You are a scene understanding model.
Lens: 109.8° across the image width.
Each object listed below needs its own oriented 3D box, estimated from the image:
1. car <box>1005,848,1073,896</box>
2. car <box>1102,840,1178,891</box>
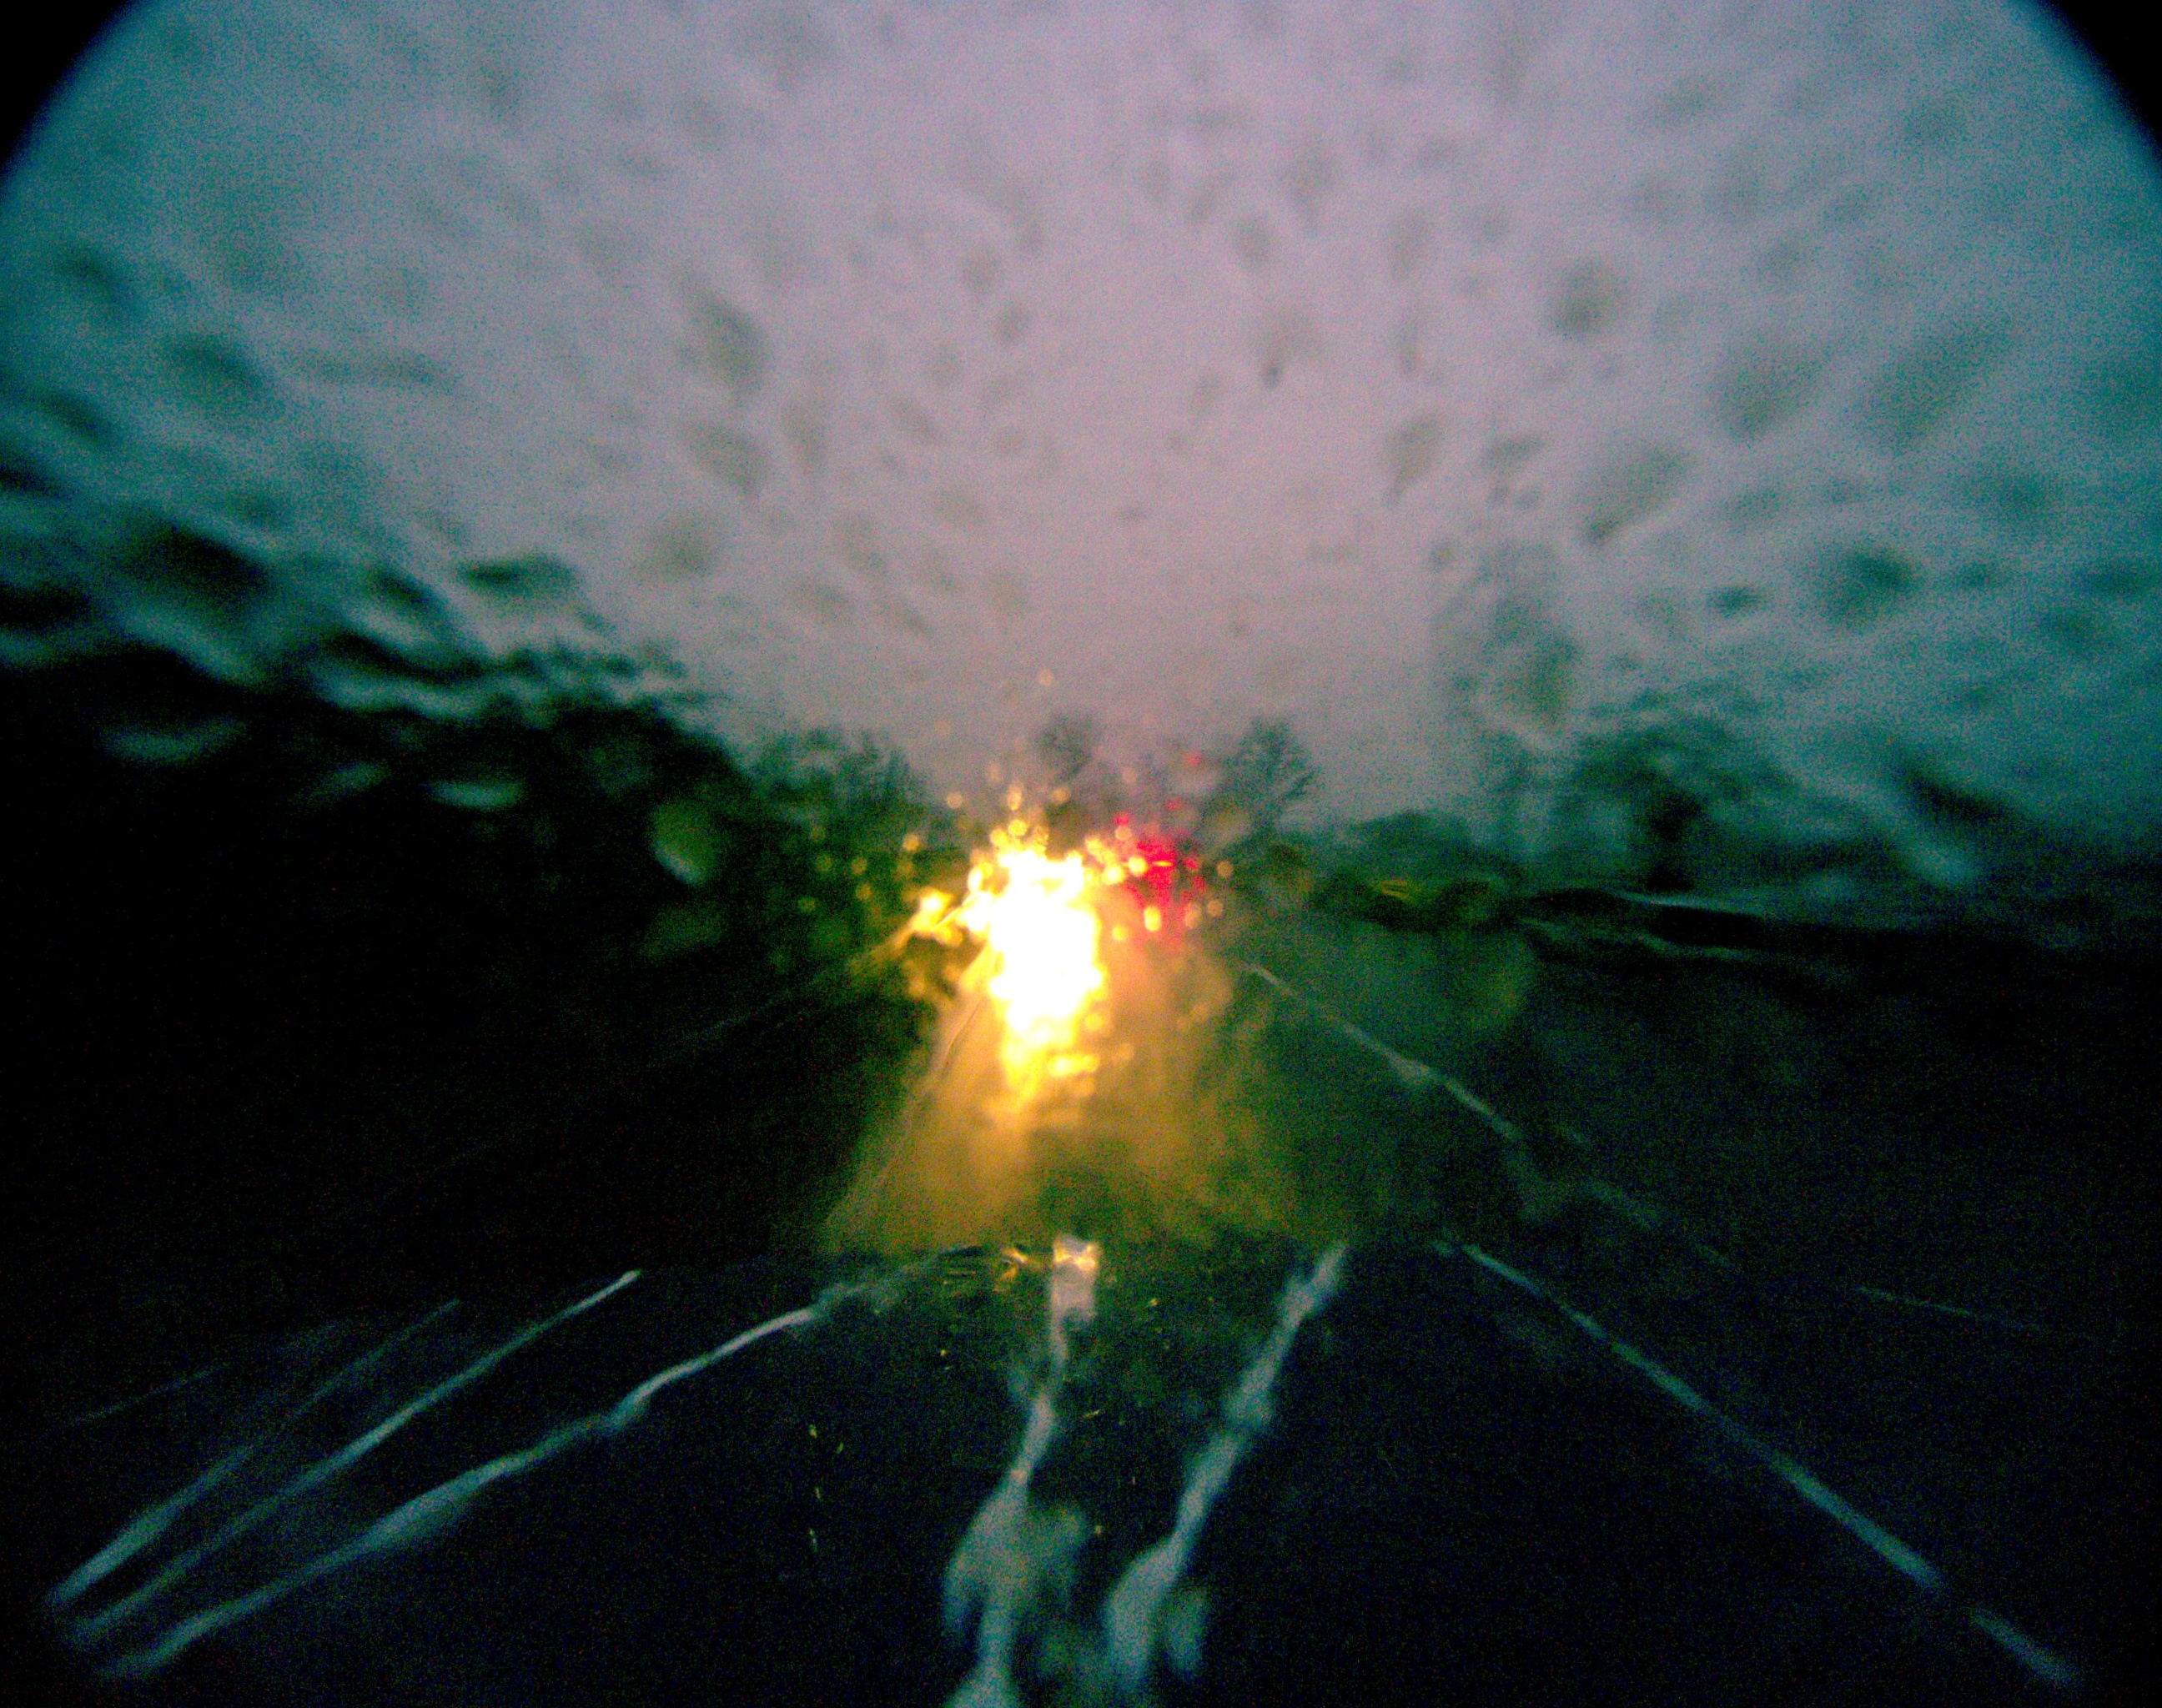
[{"bbox_3d":[-1.649,0.600,28.216,2.104,1.566,4.795,1,1,-8],"label":"car"},{"bbox_3d":[2.088,0.346,28.264,1.999,1.612,4.594,-3,2,-5],"label":"car"}]
